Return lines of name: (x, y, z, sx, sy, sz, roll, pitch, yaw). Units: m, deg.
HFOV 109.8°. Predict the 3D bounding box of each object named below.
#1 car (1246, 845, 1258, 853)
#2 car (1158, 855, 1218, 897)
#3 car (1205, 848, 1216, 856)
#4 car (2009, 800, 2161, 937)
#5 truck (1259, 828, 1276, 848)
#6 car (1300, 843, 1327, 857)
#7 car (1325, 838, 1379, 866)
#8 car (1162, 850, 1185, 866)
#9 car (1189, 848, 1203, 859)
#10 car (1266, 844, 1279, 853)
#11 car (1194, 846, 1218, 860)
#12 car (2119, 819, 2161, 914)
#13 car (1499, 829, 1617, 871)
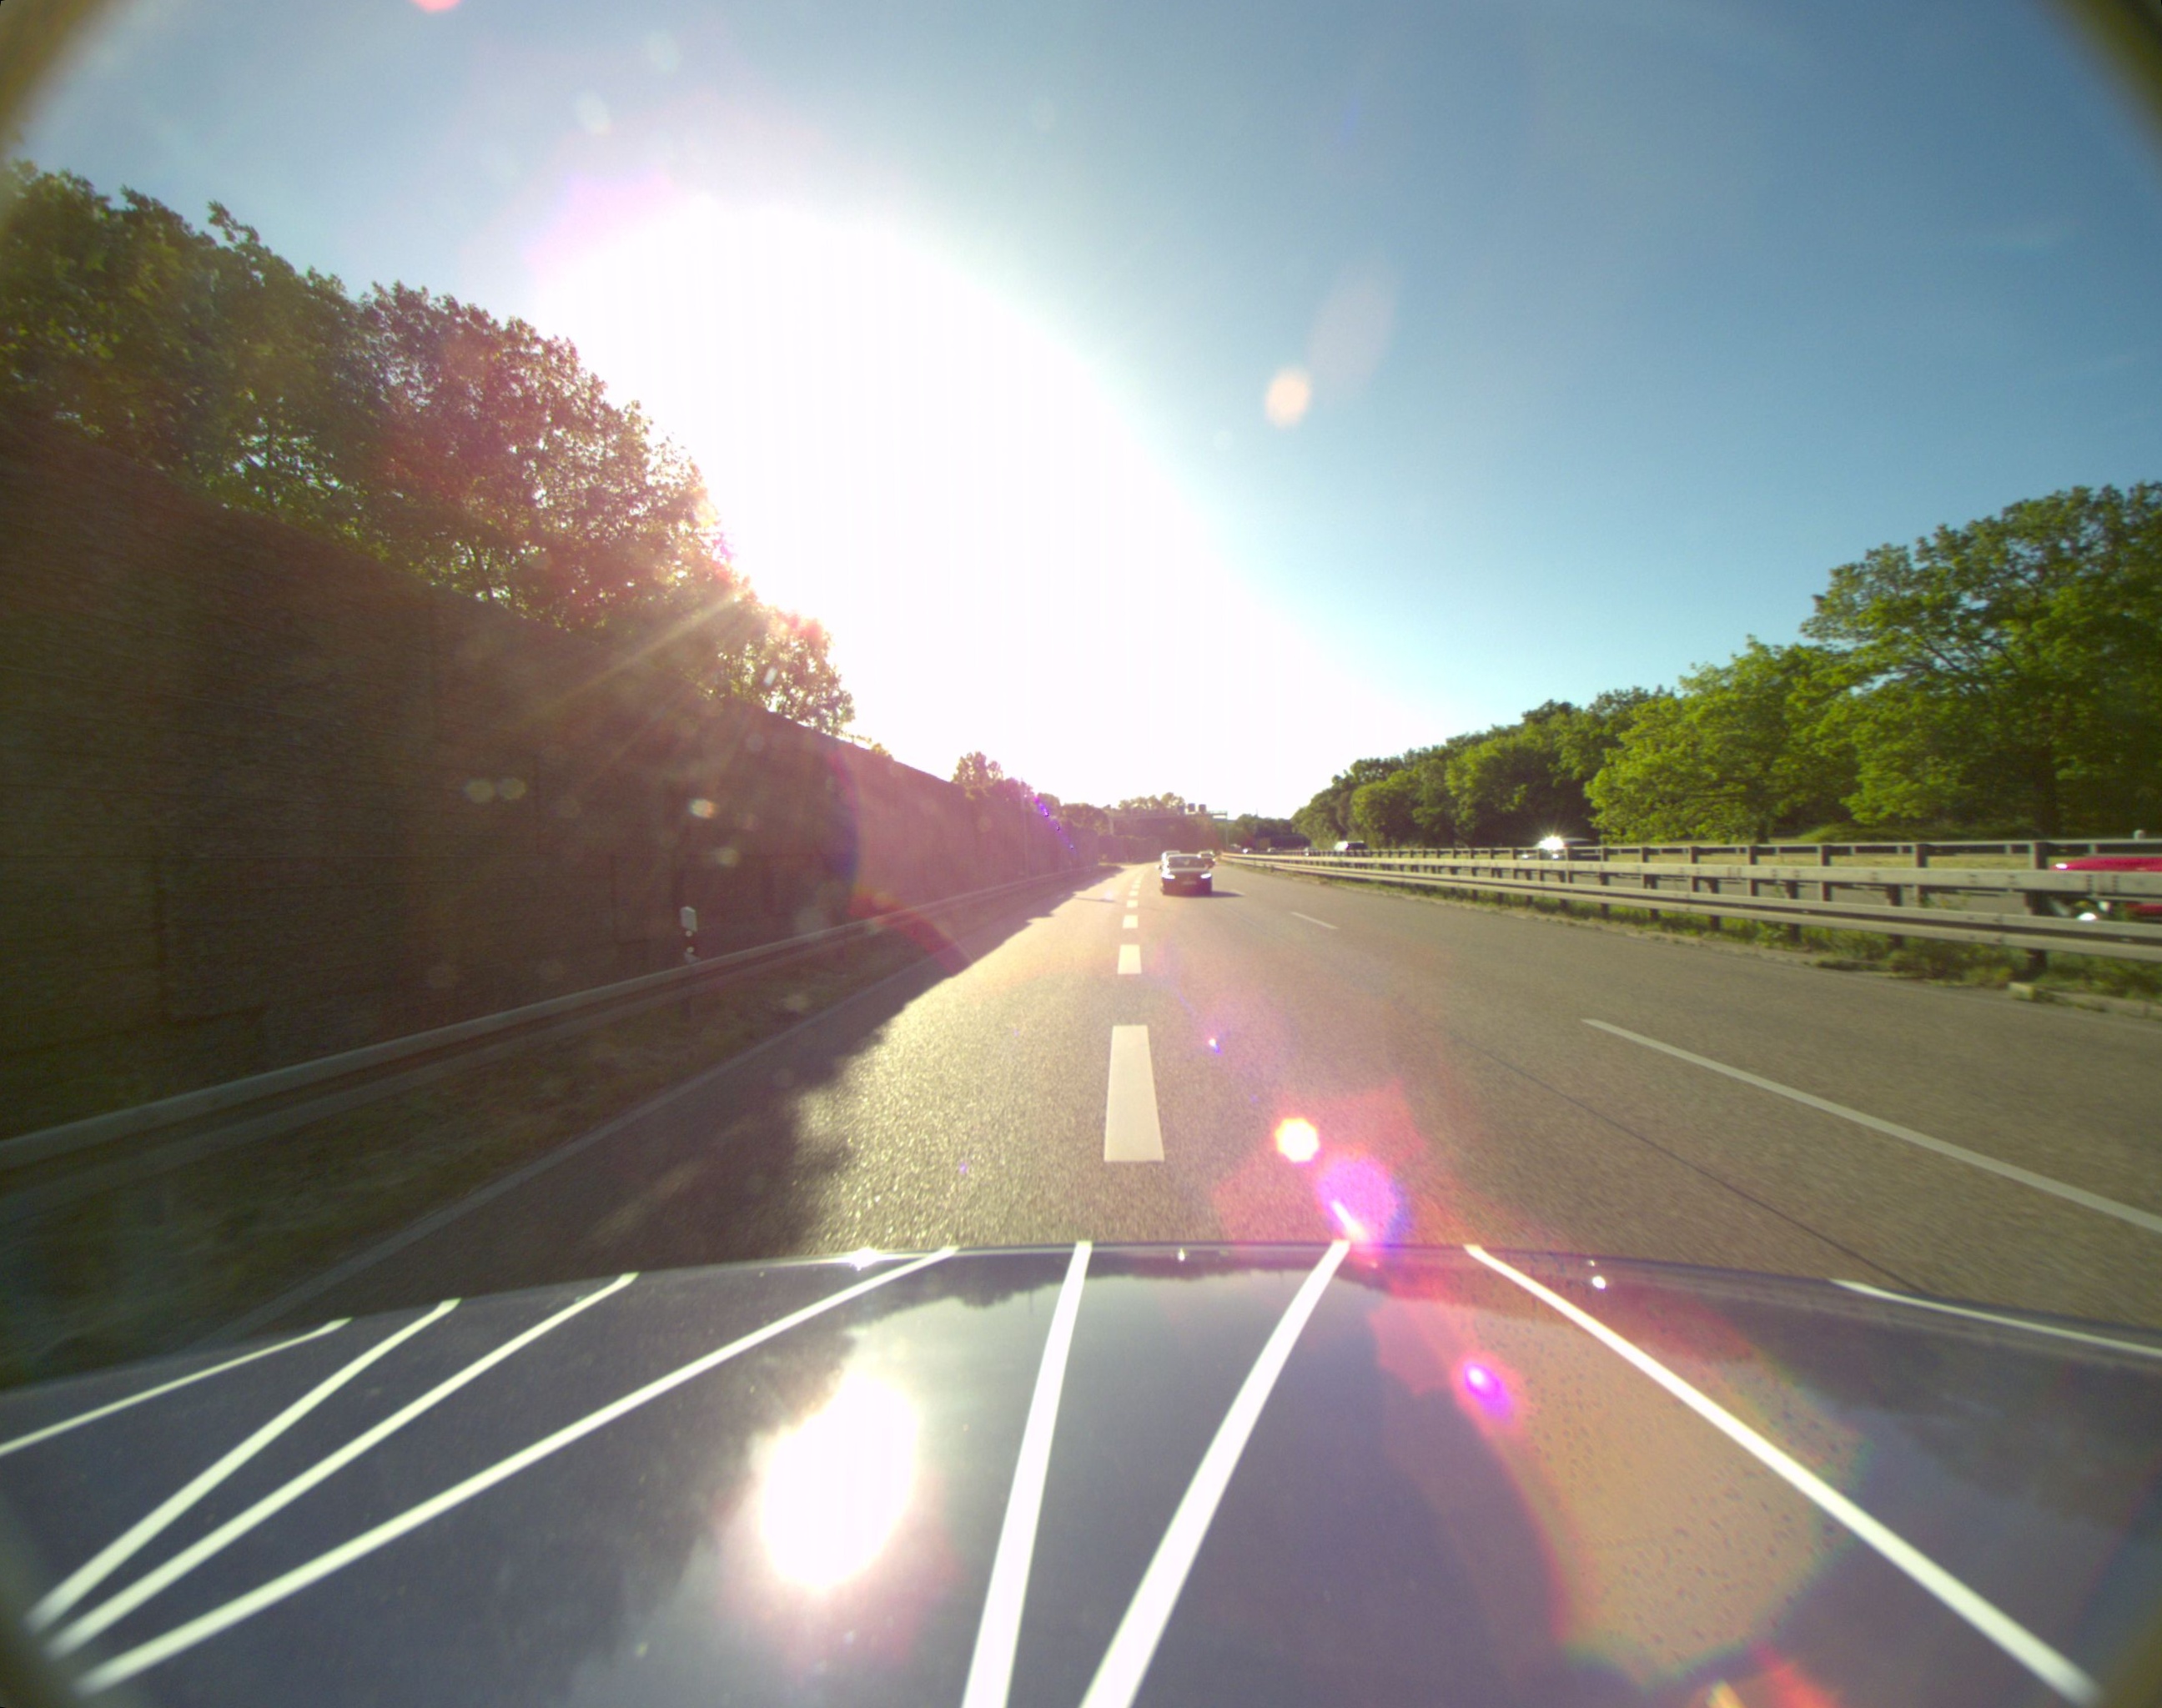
car: (32.706, -0.912, 145.366, 1.997, 1.406, 4.834, -3, 0, 10)
car: (3.962, 0.767, 28.882, 1.998, 1.406, 4.832, -2, 0, 5)
car: (25.850, -0.456, 151.605, 1.997, 1.406, 4.834, -3, 0, 11)
car: (13.781, 0.175, 8.164, 1.998, 1.631, 4.722, 0, 0, 4)
truck: (43.823, -3.663, 178.924, 3.171, 4.394, 8.025, -4, 0, 12)
car: (26.937, -0.439, 88.008, 1.998, 1.406, 4.832, -3, 0, 5)
car: (17.699, -0.129, 49.848, 1.998, 1.631, 4.722, -3, 0, 4)
car: (9.025, 0.346, 74.334, 1.998, 1.406, 4.832, -3, 0, 5)
car: (17.351, -0.074, 114.383, 1.997, 1.406, 4.833, -3, 0, 9)
car: (35.274, -1.001, 140.058, 1.997, 1.406, 4.834, -3, 0, 10)
car: (13.833, -0.138, 84.204, 1.998, 1.406, 4.832, -3, 0, 3)
car: (19.537, 0.175, 11.094, 1.998, 1.631, 5.028, -3, 0, 4)
car: (19.153, -0.173, 30.806, 1.998, 1.469, 4.722, -3, 0, 4)
